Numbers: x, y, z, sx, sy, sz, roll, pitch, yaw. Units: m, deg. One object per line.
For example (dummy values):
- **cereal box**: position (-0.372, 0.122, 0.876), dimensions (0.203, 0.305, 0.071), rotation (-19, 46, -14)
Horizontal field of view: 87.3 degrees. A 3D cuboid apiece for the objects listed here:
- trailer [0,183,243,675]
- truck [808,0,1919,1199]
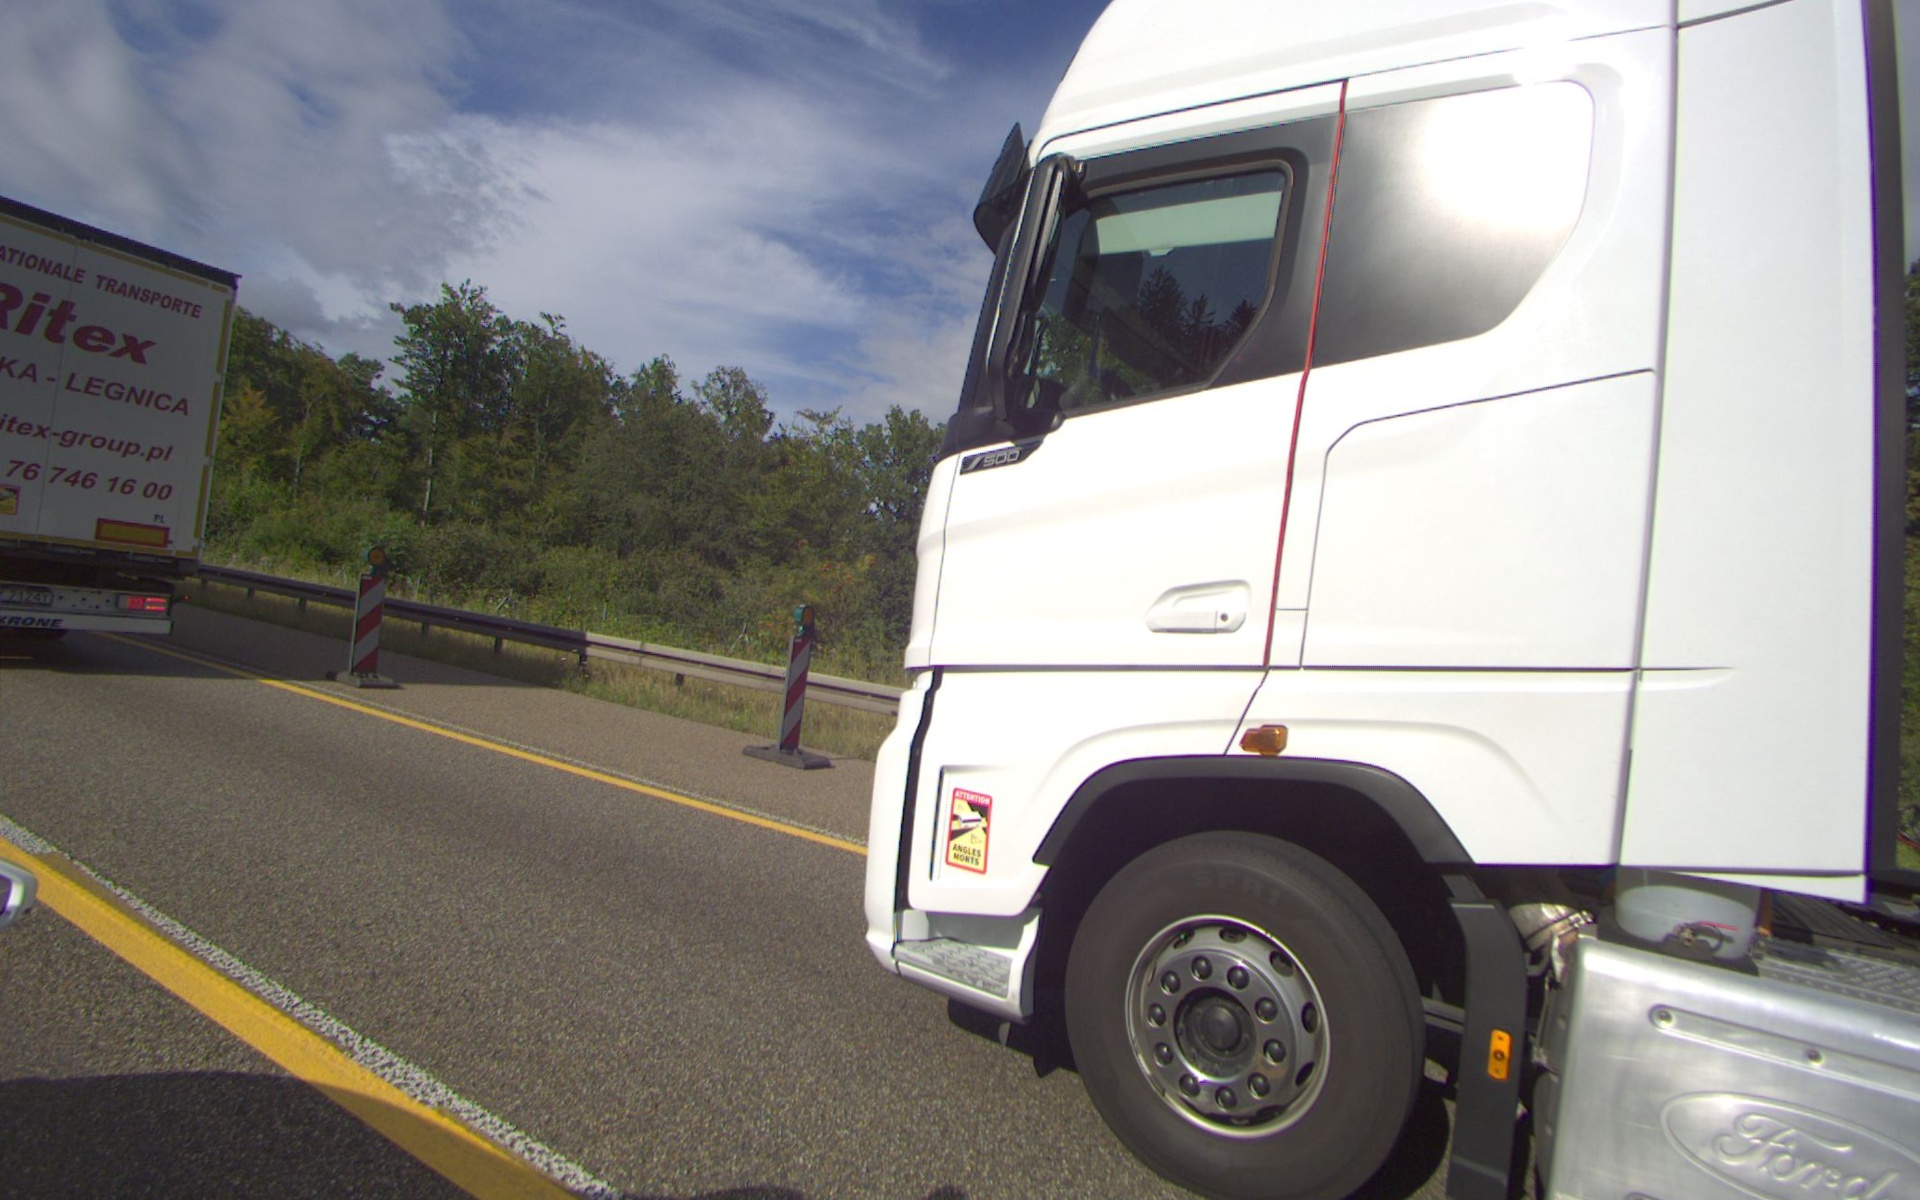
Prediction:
- **trailer**: position (-13.536, -2.051, 12.059), dimensions (13.193, 4.015, 2.705), rotation (7, -1, 31)
- **truck**: position (2.775, -0.095, 2.924), dimensions (5.693, 3.825, 2.499), rotation (6, -1, 31)
